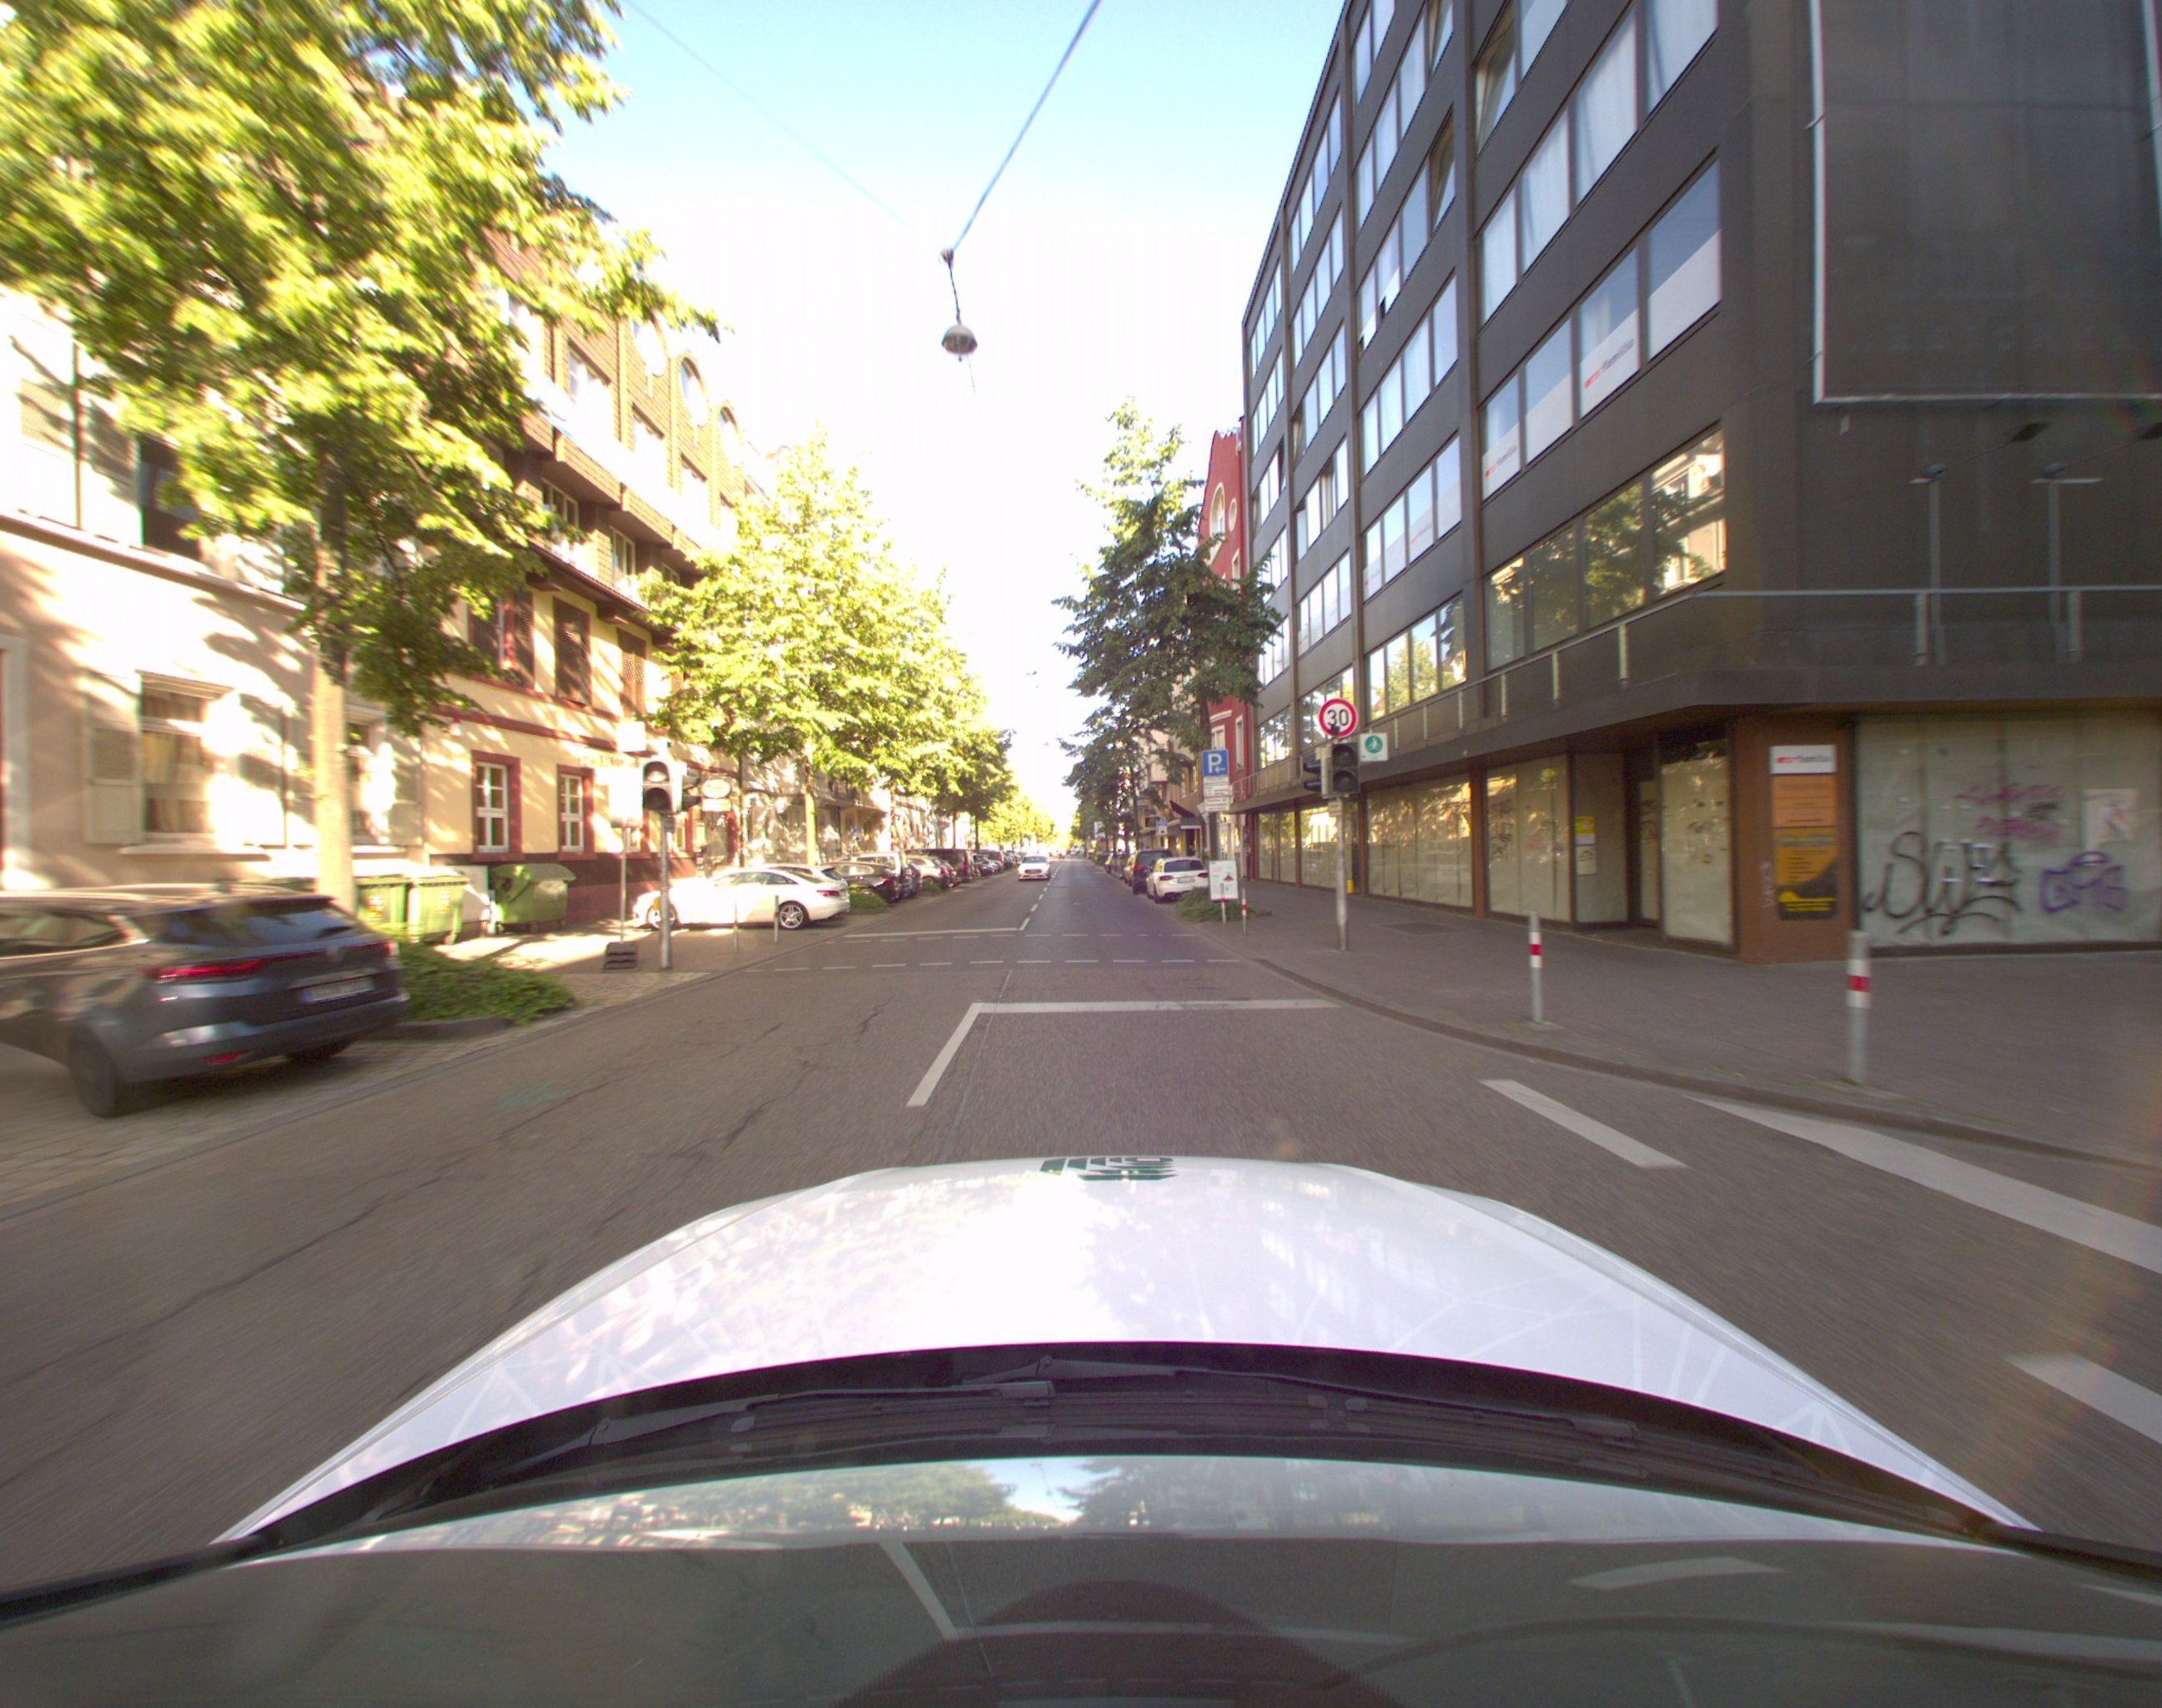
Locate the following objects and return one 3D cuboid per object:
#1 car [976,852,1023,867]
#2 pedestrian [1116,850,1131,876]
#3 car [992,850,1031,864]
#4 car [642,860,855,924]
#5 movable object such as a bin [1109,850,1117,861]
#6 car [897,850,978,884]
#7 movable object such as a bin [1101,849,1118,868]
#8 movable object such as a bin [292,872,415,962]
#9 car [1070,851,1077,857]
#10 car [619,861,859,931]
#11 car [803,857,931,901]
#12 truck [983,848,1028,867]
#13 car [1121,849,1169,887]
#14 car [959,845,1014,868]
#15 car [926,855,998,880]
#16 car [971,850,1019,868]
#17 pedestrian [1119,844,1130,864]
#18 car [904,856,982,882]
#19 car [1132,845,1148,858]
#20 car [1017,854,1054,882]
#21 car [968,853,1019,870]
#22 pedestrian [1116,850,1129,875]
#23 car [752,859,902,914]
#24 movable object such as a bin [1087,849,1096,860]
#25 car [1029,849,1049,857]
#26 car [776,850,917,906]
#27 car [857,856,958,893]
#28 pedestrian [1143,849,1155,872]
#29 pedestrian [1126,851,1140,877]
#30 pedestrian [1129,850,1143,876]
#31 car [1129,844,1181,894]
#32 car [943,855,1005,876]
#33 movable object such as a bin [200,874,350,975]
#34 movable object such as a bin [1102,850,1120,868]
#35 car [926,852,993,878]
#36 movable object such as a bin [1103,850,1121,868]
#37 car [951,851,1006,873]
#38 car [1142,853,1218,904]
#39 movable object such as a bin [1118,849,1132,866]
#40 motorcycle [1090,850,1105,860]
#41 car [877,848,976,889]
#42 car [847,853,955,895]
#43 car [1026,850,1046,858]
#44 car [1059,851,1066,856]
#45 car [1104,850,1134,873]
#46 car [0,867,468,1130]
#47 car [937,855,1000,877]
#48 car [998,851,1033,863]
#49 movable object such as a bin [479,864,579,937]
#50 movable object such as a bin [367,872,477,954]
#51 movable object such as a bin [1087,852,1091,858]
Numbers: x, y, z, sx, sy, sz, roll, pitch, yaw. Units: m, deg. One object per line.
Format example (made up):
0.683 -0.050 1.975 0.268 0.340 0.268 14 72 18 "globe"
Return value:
-8.444 0.568 85.021 4.665 1.519 1.808 -1 0 0 "car"
2.575 0.559 49.248 0.744 1.536 0.810 -2 0 13 "pedestrian"
-8.566 0.387 100.814 4.665 1.693 1.808 -1 0 0 "car"
-8.452 0.938 21.076 4.693 1.492 1.996 0 1 -6 "car"
4.948 0.195 125.869 1.202 1.627 1.497 -2 0 -3 "movable object such as a bin"
-8.082 0.712 45.990 4.341 1.834 1.909 -1 0 -11 "car"
2.470 0.397 70.180 1.326 1.542 1.145 -2 0 -1 "movable object such as a bin"
-11.787 0.985 13.248 0.826 1.355 1.249 -1 0 2 "movable object such as a bin"
-2.093 -0.044 221.238 1.787 1.411 3.998 -2 1 -1 "car"
-7.691 0.927 18.765 4.693 1.492 1.996 0 -1 -6 "car"
-8.135 0.950 31.183 4.321 1.544 1.918 -1 0 3 "car"
-8.806 0.402 95.274 5.071 1.938 1.999 -2 0 -2 "truck"
3.080 0.623 39.887 1.817 1.596 4.840 -4 0 -1 "car"
-8.520 0.225 73.529 4.665 1.950 1.916 -1 0 0 "car"
-7.866 0.872 54.191 4.450 1.541 1.917 -1 0 1 "car"
-8.673 0.510 82.320 4.665 1.712 1.808 -1 0 0 "car"
4.461 0.008 83.379 0.916 1.935 0.765 -2 0 24 "pedestrian"
-8.222 0.871 48.835 4.329 1.439 1.914 -1 0 -3 "car"
8.171 -0.363 113.718 1.894 1.648 4.294 -2 0 1 "car"
-2.662 0.782 48.494 1.904 1.544 4.354 -1 0 0 "car"
-8.252 0.690 76.886 4.632 1.459 1.683 -1 0 -2 "car"
2.563 0.523 50.547 0.648 1.536 0.979 -2 0 -3 "pedestrian"
-7.910 0.983 25.785 4.343 1.544 1.956 -1 0 -13 "car"
1.649 0.065 128.356 1.136 1.562 1.462 -2 0 7 "movable object such as a bin"
-9.194 -0.262 179.029 3.970 1.694 2.002 -2 0 3 "car"
-8.125 0.802 28.502 4.324 1.824 1.930 -1 0 1 "car"
-8.072 0.916 38.159 4.329 1.595 1.914 -1 0 -3 "car"
5.072 0.455 60.559 0.506 1.695 0.623 -2 0 -38 "pedestrian"
3.068 0.591 48.143 0.690 1.536 0.776 -2 0 0 "pedestrian"
3.410 0.551 50.540 0.706 1.536 0.772 -2 0 13 "pedestrian"
2.960 0.557 33.521 1.815 1.777 4.934 -4 0 3 "car"
-8.368 0.911 63.885 4.448 1.541 1.918 -1 0 2 "car"
-11.783 0.997 11.967 0.905 1.367 1.262 -1 0 2 "movable object such as a bin"
2.533 0.437 69.018 1.395 1.453 1.145 -2 0 -1 "movable object such as a bin"
-8.402 0.758 56.665 4.327 1.709 1.916 -1 0 -1 "car"
2.575 0.432 67.835 1.395 1.453 1.145 -2 0 -1 "movable object such as a bin"
-8.793 0.655 70.304 4.451 1.772 1.916 -1 0 0 "car"
3.185 0.733 27.098 1.816 1.402 4.841 -4 0 0 "car"
3.772 0.308 70.216 1.074 1.431 1.295 -2 0 -1 "movable object such as a bin"
2.392 0.187 118.040 1.980 1.330 0.907 -2 0 -14 "motorcycle"
-7.709 0.695 40.912 4.557 1.926 1.931 -1 0 1 "car"
-7.844 0.851 35.757 4.329 1.733 1.914 -1 0 -3 "car"
-9.069 0.049 166.121 3.977 1.390 1.999 -2 1 -2 "car"
-5.693 -0.279 251.539 1.798 1.435 4.406 -4 0 -2 "car"
2.731 0.520 59.301 1.817 1.472 4.910 -4 0 -1 "car"
-7.394 0.920 5.948 4.324 1.544 1.945 -1 0 1 "car"
-8.429 0.854 61.128 4.454 1.541 1.915 -1 0 -2 "car"
-8.910 0.404 111.180 4.671 1.465 1.805 -1 0 -4 "car"
-11.683 0.955 17.297 1.129 1.444 1.382 -1 0 2 "movable object such as a bin"
-11.752 1.018 14.573 0.814 1.362 1.346 -1 0 2 "movable object such as a bin"
1.422 0.172 145.465 0.620 1.179 0.711 -2 0 -3 "movable object such as a bin"
